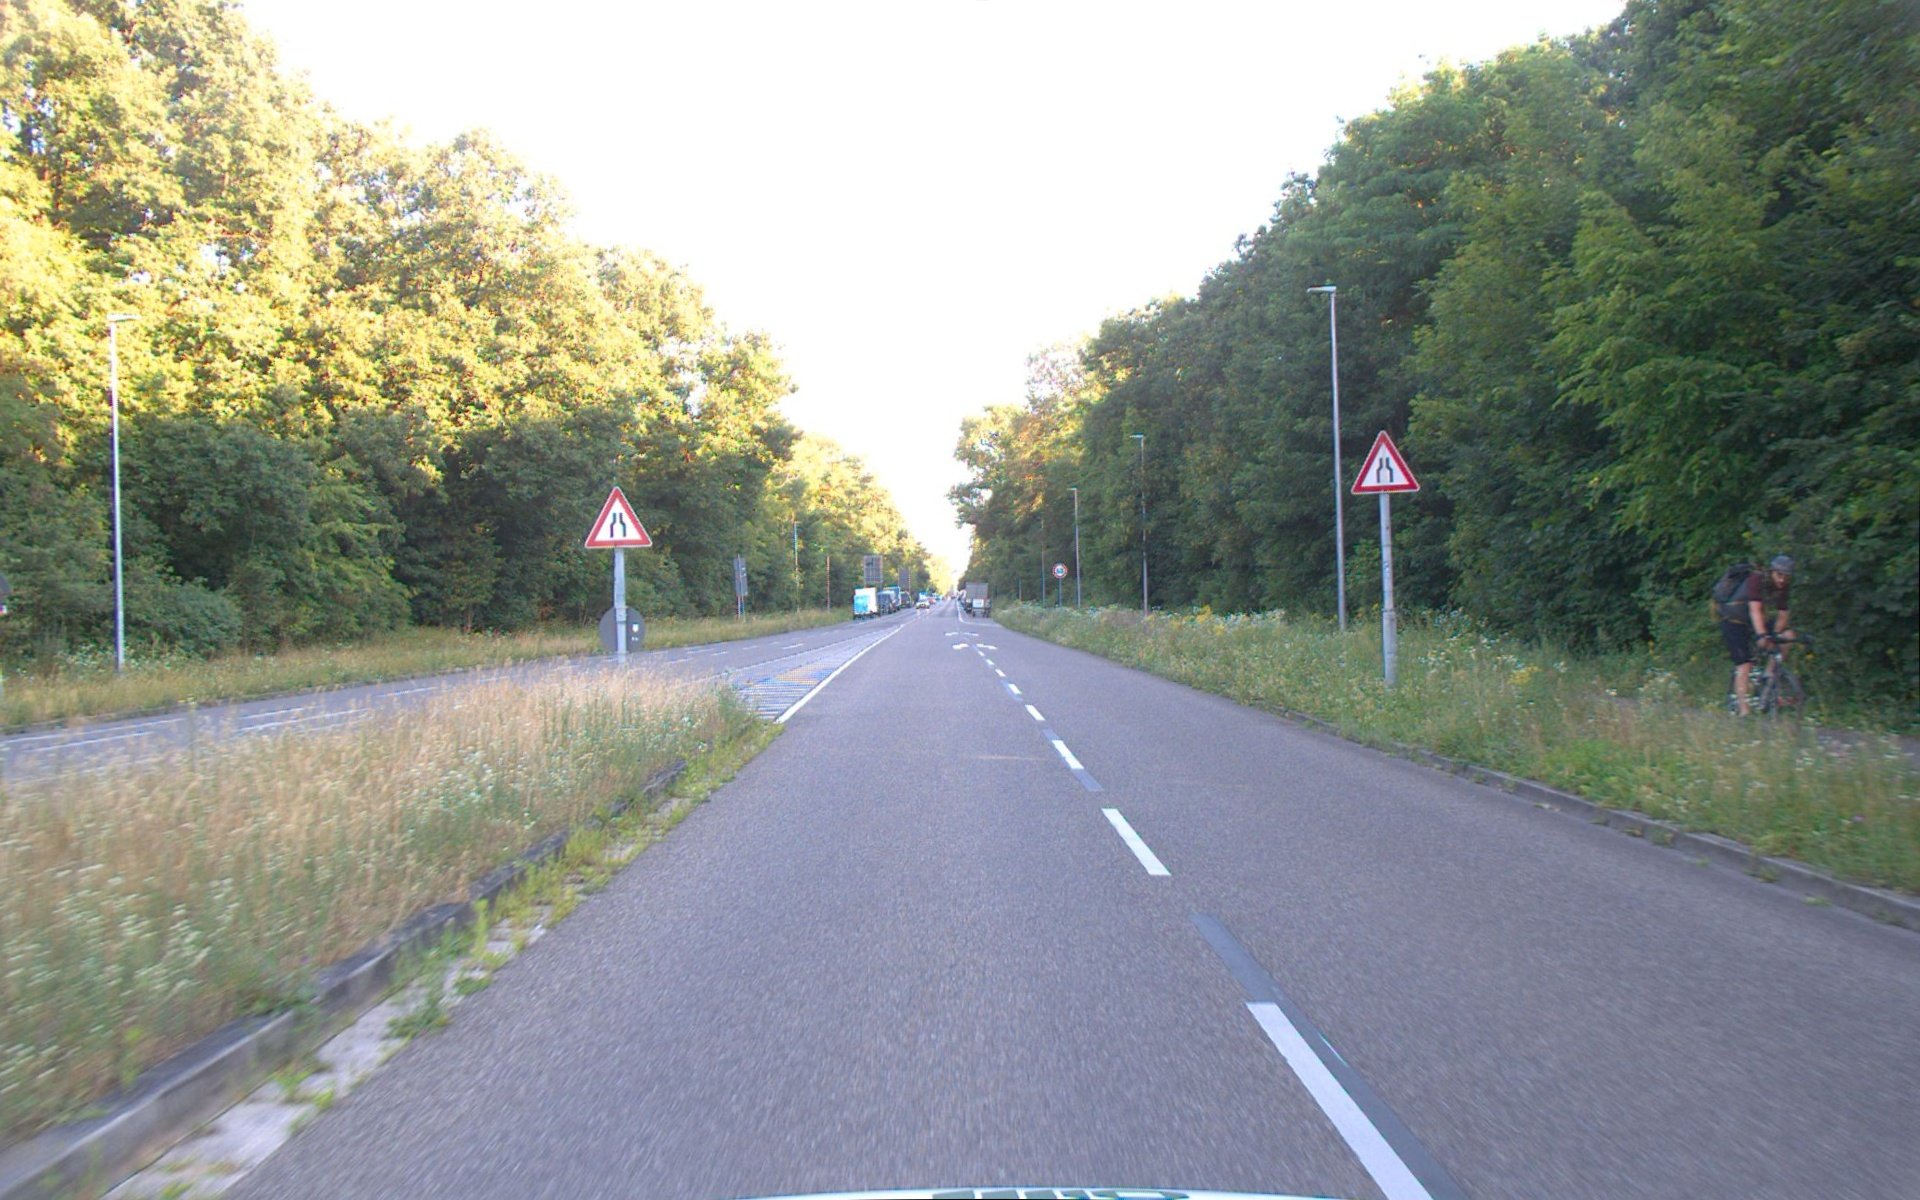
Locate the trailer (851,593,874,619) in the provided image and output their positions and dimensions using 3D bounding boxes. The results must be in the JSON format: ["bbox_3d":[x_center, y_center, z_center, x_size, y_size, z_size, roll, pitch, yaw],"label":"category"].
[{"bbox_3d":[-8.664,0.514,147.300,1.780,2.205,4.142,-2,0,-1],"label":"trailer"}]

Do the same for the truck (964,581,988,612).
[{"bbox_3d":[1.739,-0.383,179.574,2.535,3.312,7.221,0,0,1],"label":"truck"}]

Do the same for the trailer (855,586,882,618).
[{"bbox_3d":[-8.950,0.156,162.910,2.279,2.975,5.626,-3,0,-1],"label":"trailer"}]

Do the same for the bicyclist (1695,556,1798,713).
[{"bbox_3d":[7.639,0.326,16.091,0.591,1.480,0.780,-2,0,0],"label":"bicyclist"}]

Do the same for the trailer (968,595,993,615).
[{"bbox_3d":[1.874,0.446,147.397,1.425,1.691,3.780,-2,0,13],"label":"trailer"}]

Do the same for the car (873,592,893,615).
[{"bbox_3d":[-8.739,0.367,188.496,1.953,2.405,5.765,-4,0,0],"label":"car"}]

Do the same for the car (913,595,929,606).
[{"bbox_3d":[-5.819,0.035,245.513,2.021,1.460,4.466,-4,0,1],"label":"car"}]

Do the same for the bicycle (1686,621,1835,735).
[{"bbox_3d":[7.669,0.723,15.924,0.598,1.013,1.691,-2,0,0],"label":"bicycle"}]

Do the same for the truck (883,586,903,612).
[{"bbox_3d":[-9.351,-0.153,231.340,2.453,3.387,6.841,-2,0,0],"label":"truck"}]
